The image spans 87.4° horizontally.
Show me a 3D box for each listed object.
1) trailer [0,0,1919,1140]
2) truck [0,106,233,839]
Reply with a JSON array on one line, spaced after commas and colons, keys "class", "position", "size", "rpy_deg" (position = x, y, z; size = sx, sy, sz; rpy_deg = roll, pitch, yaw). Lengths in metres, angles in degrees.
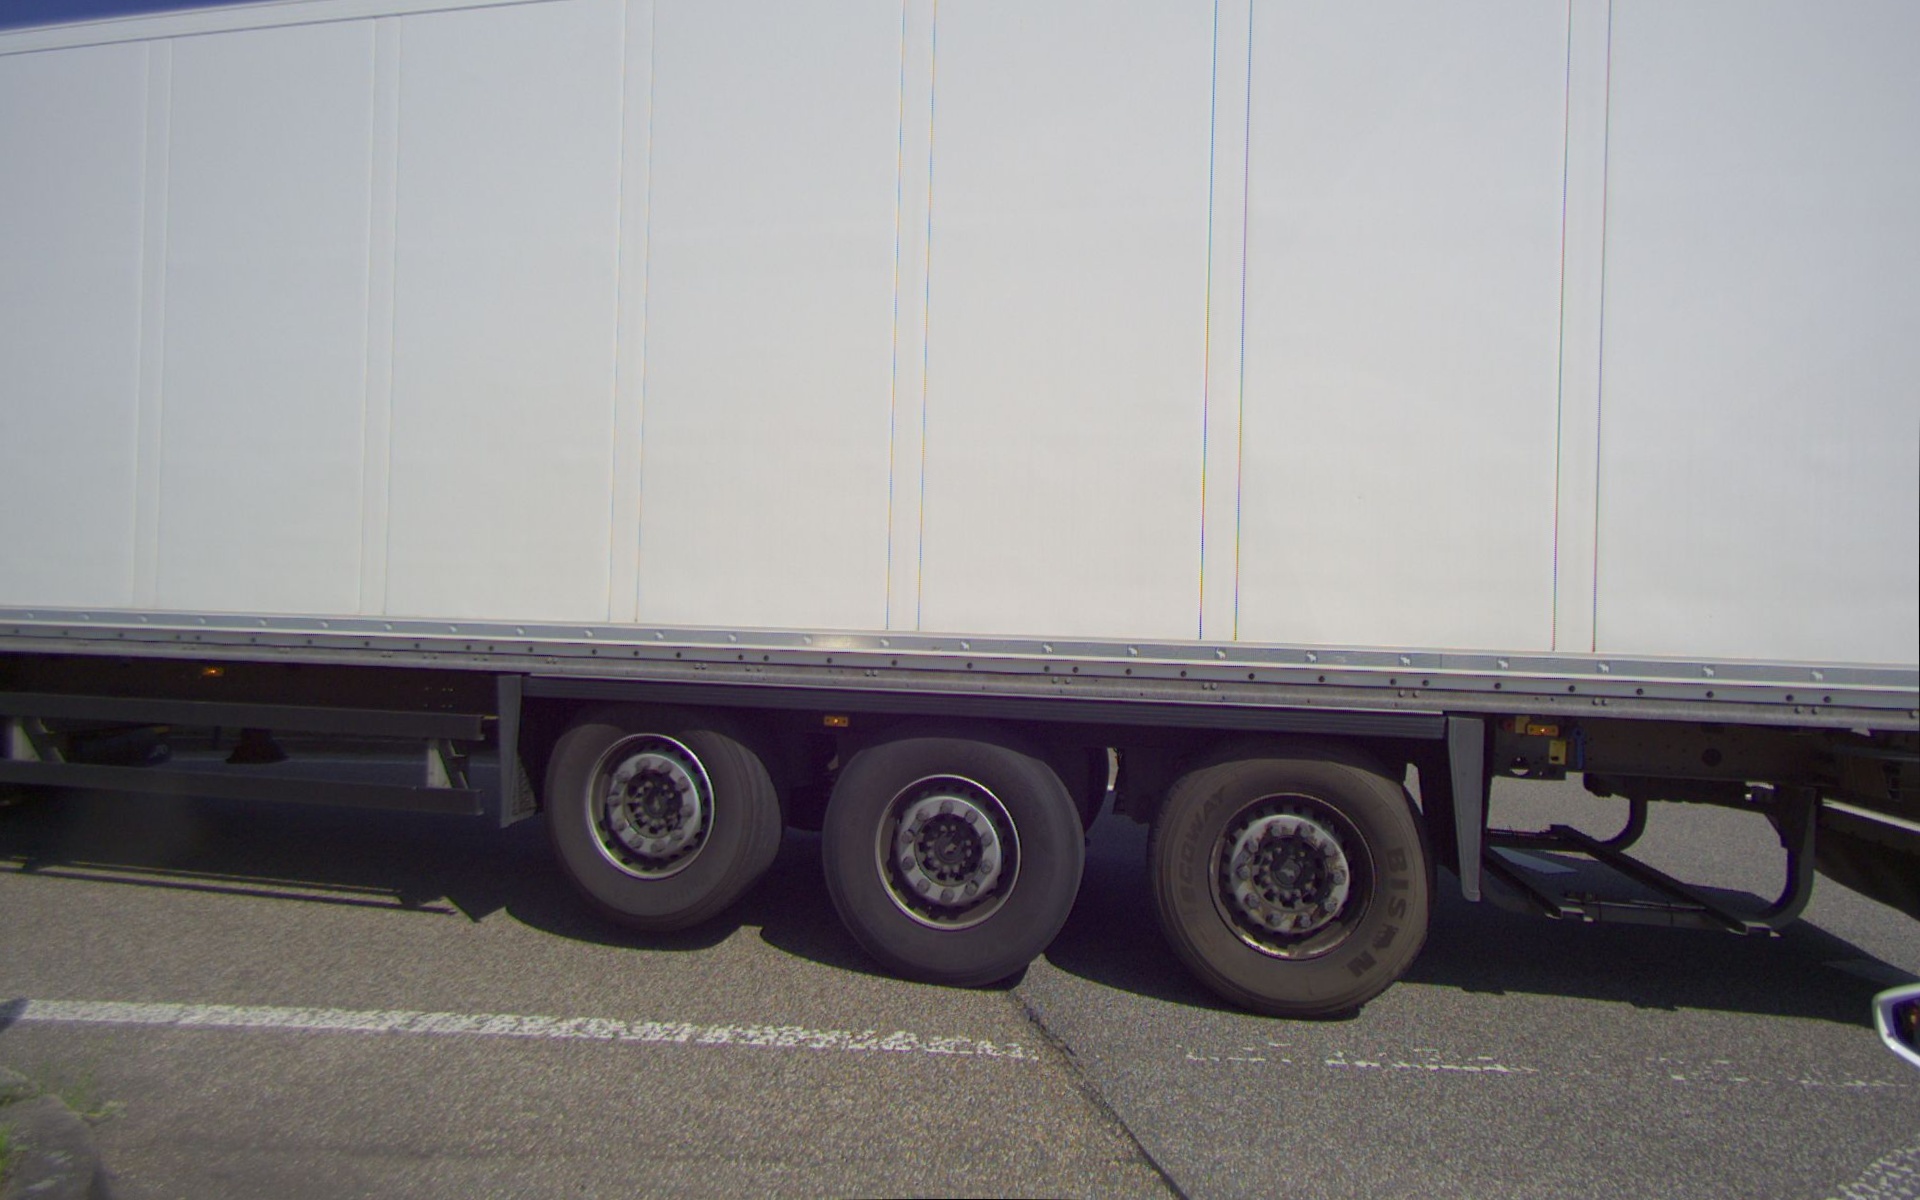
[{"class": "trailer", "position": [-2.212, -0.641, 5.588], "size": [13.697, 4.221, 2.898], "rpy_deg": [2, 0, 12]}, {"class": "truck", "position": [-8.592, -0.781, 6.224], "size": [5.863, 4.229, 2.875], "rpy_deg": [1, 0, -10]}]
